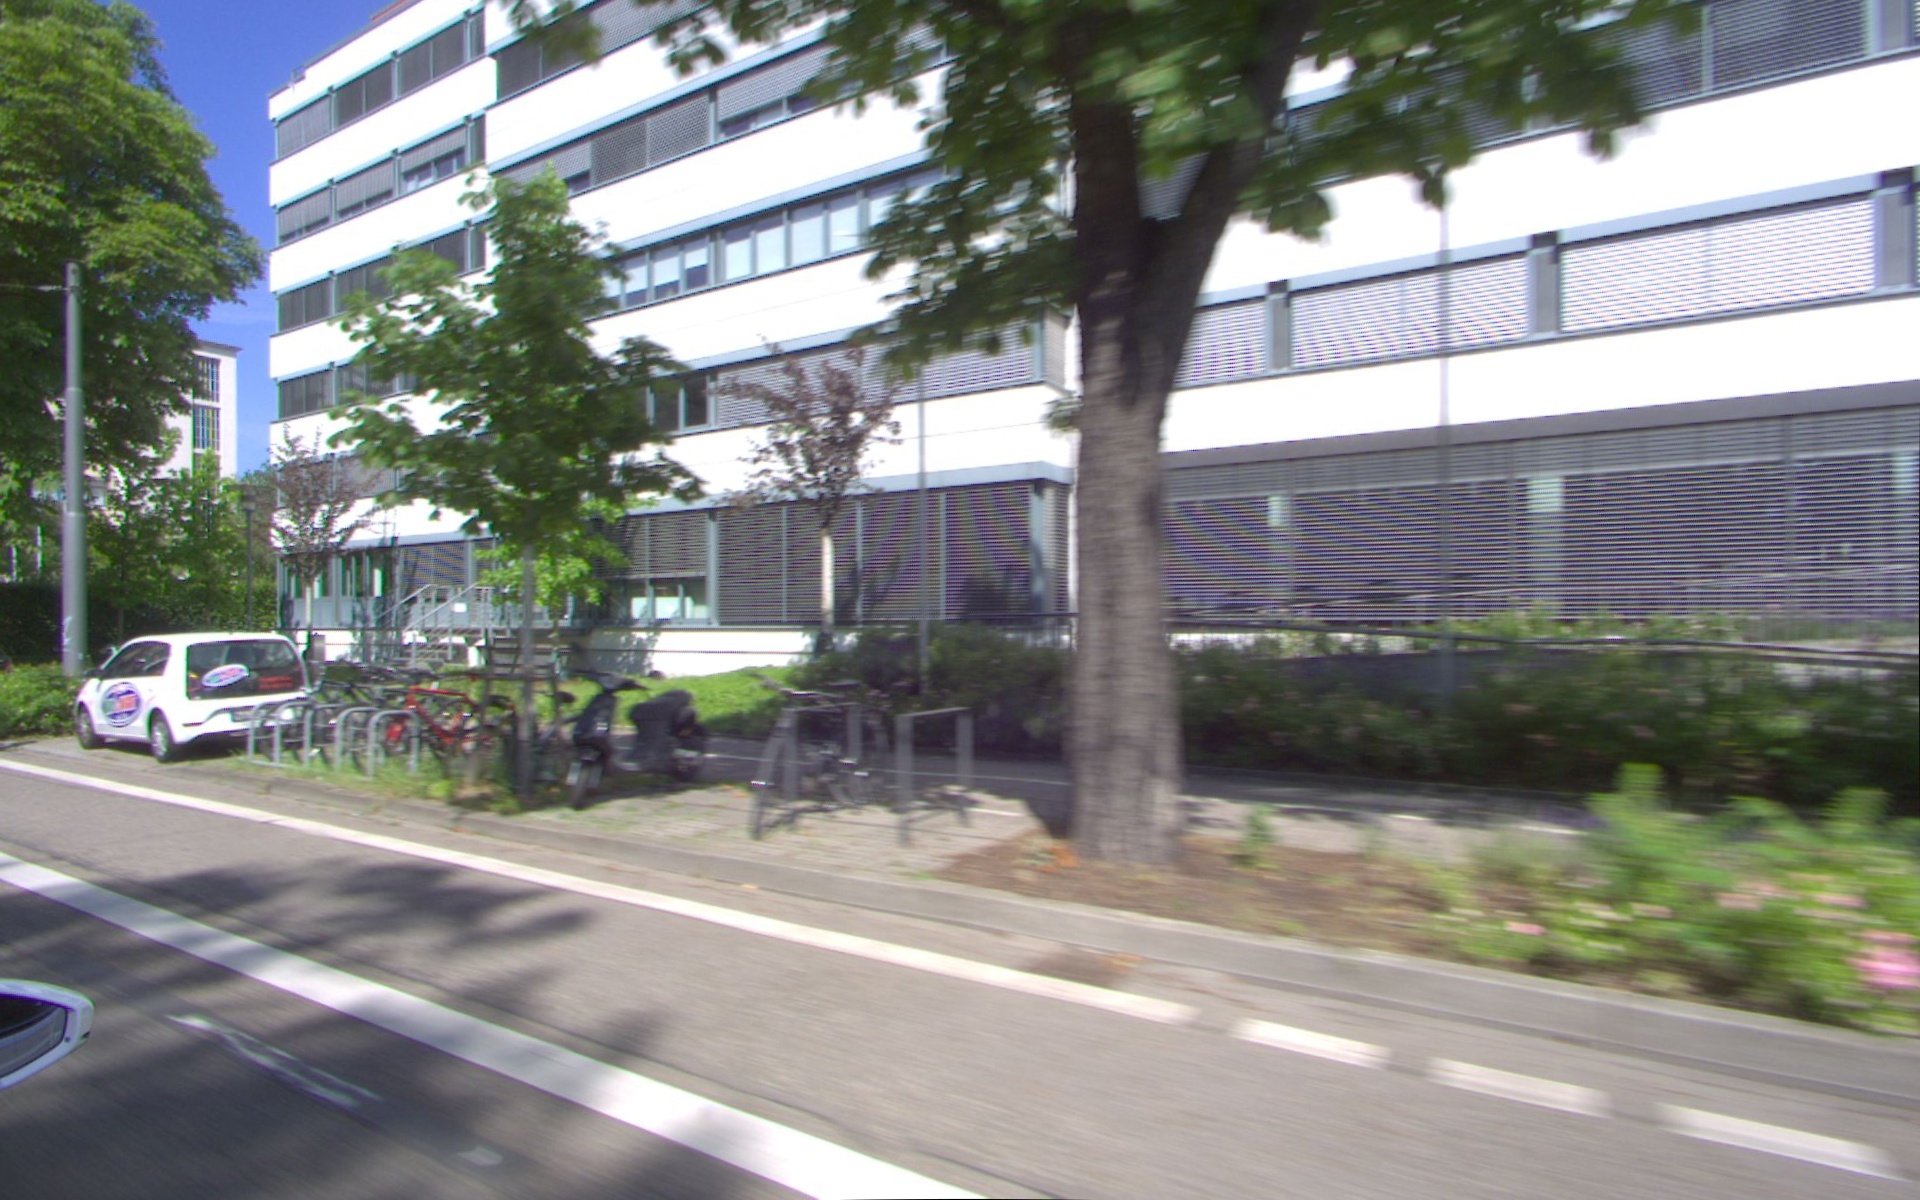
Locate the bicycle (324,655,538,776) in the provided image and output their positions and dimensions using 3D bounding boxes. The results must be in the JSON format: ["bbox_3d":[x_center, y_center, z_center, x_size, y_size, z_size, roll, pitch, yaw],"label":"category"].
[{"bbox_3d":[-5.279,1.115,10.137,0.542,1.096,1.911,0,-3,29],"label":"bicycle"}]

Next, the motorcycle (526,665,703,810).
[{"bbox_3d":[-2.926,1.126,8.614,0.526,1.060,1.464,0,-1,29],"label":"motorcycle"}]

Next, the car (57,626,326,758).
[{"bbox_3d":[-10.065,1.080,13.049,3.890,1.470,1.587,-1,-1,33],"label":"car"}]

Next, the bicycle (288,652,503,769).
[{"bbox_3d":[-5.800,1.114,10.418,0.542,1.096,1.911,0,-4,29],"label":"bicycle"}]

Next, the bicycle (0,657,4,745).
[{"bbox_3d":[-12.985,1.258,12.689,1.983,1.092,0.809,-1,-1,33],"label":"bicycle"}]

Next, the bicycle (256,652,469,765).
[{"bbox_3d":[-6.321,1.127,10.723,0.542,1.096,1.911,0,-4,29],"label":"bicycle"}]

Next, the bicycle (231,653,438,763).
[{"bbox_3d":[-6.848,1.151,11.075,0.542,1.096,1.885,0,-3,29],"label":"bicycle"}]

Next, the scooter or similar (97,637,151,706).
[{"bbox_3d":[-14.385,1.213,17.223,1.075,1.142,0.378,0,0,30],"label":"scooter or similar"}]

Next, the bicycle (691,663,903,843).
[{"bbox_3d":[-1.150,1.055,7.453,0.587,1.097,1.772,0,-1,29],"label":"bicycle"}]

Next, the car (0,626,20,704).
[{"bbox_3d":[-20.196,1.241,19.543,4.568,1.463,1.661,-1,-1,33],"label":"car"}]

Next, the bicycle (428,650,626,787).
[{"bbox_3d":[-4.121,1.083,9.673,0.587,1.134,1.772,0,-1,29],"label":"bicycle"}]
